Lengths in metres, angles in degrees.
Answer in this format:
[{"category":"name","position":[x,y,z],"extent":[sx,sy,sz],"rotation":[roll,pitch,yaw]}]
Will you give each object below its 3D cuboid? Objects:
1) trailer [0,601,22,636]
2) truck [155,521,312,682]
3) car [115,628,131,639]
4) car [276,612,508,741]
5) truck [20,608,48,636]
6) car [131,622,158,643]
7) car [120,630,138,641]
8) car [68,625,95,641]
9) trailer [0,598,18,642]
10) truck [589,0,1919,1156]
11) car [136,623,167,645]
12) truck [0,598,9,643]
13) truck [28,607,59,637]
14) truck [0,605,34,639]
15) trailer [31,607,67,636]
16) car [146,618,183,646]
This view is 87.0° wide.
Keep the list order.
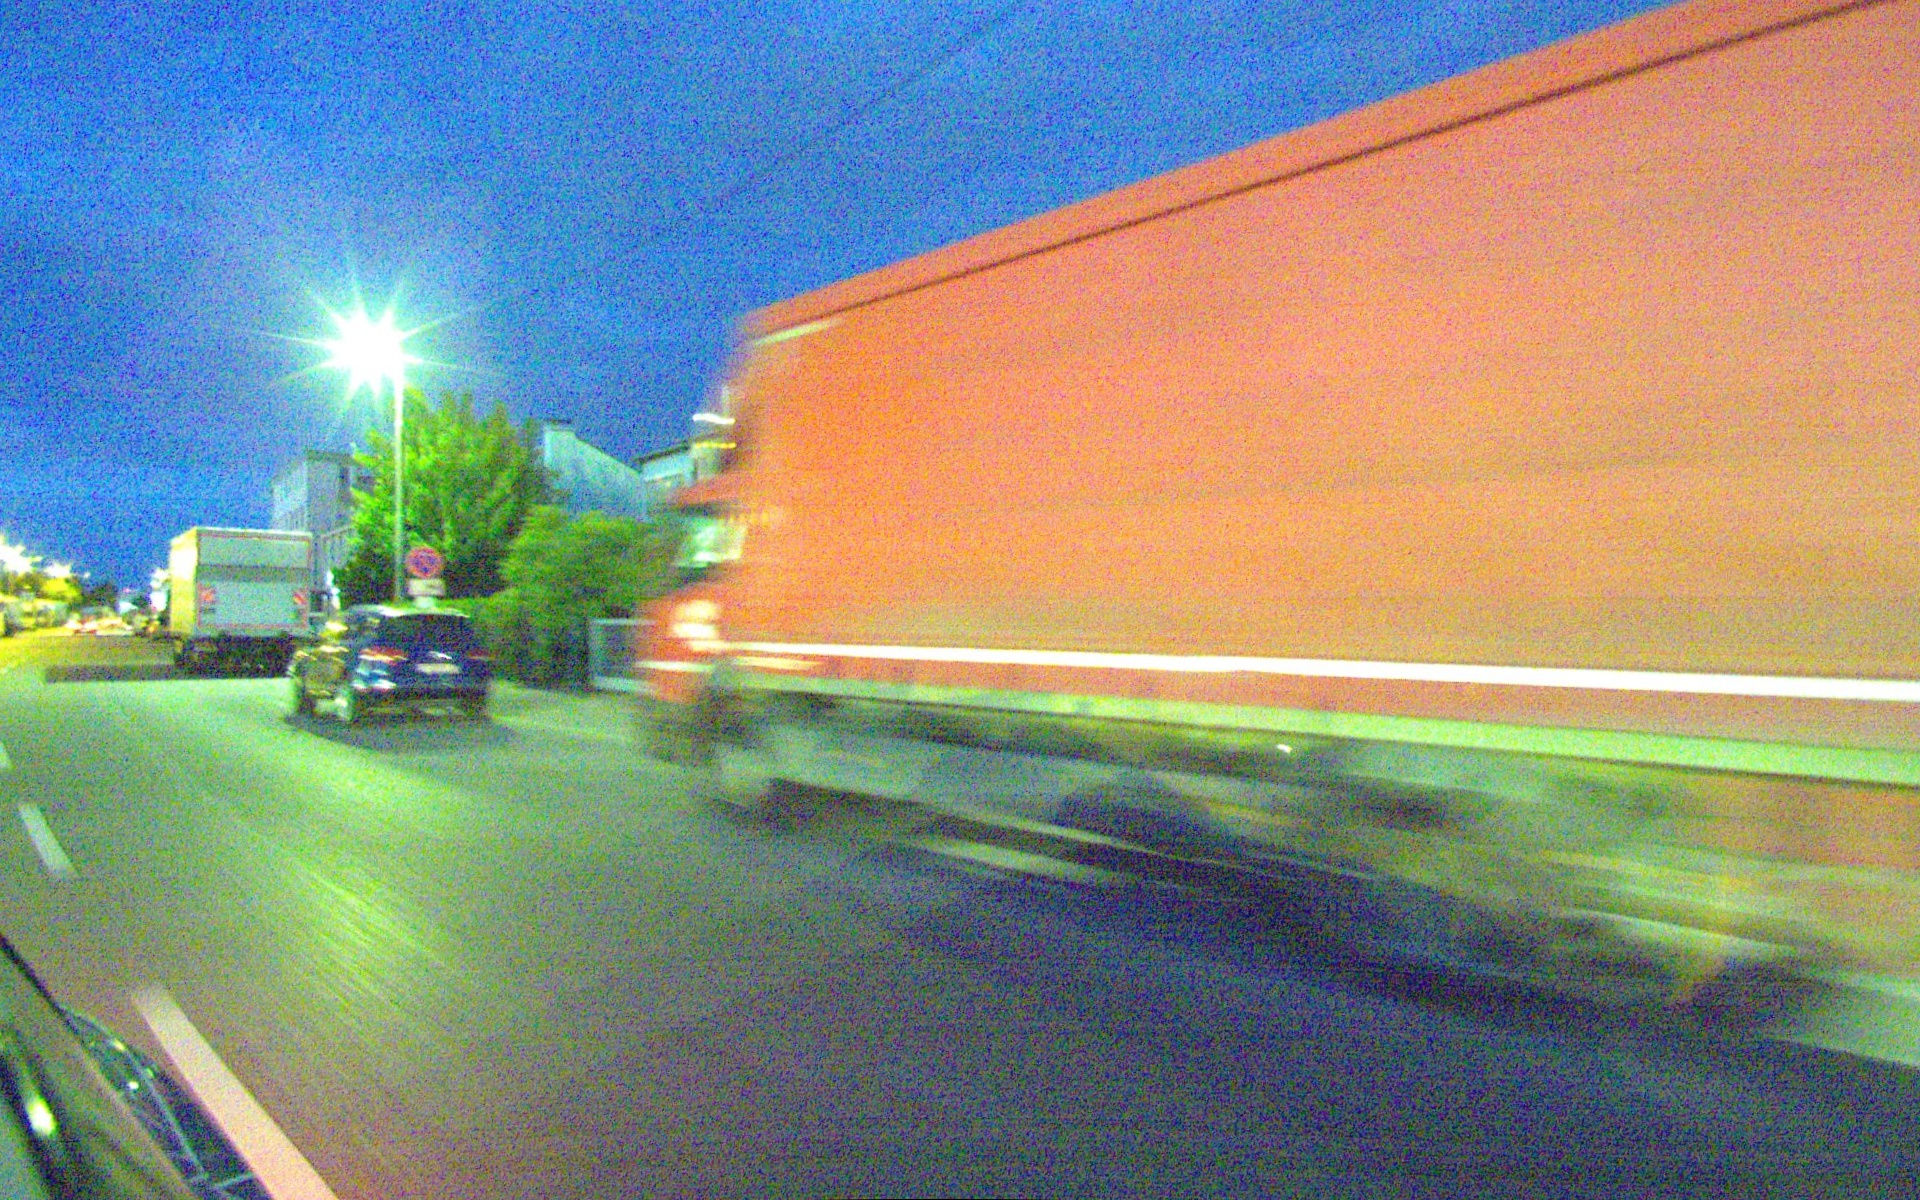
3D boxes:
[{"category":"trailer","position":[-100.265,1.938,105.714],"extent":[2.842,3.551,8.296],"rotation":[0,-2,-40]},{"category":"truck","position":[-21.759,0.134,30.025],"extent":[2.713,4.065,9.571],"rotation":[0,-1,-42]},{"category":"car","position":[-118.891,4.777,143.749],"extent":[1.665,1.375,3.885],"rotation":[-1,0,-40]},{"category":"car","position":[-9.165,1.081,16.094],"extent":[1.921,1.730,5.201],"rotation":[1,-2,-45]},{"category":"truck","position":[-139.662,3.364,152.767],"extent":[2.620,3.904,10.245],"rotation":[-1,-2,-40]},{"category":"car","position":[-72.074,2.883,89.446],"extent":[1.782,1.812,4.886],"rotation":[0,-2,-40]},{"category":"car","position":[-106.531,4.558,129.825],"extent":[1.734,1.401,4.316],"rotation":[0,-2,-39]},{"category":"car","position":[-80.853,3.043,93.151],"extent":[1.835,1.431,4.005],"rotation":[0,-1,-41]},{"category":"trailer","position":[-87.315,1.832,91.184],"extent":[2.731,3.792,14.679],"rotation":[-1,0,-40]},{"category":"truck","position":[1.498,-0.507,5.645],"extent":[9.340,4.152,2.742],"rotation":[-1,-2,43]},{"category":"car","position":[-65.019,2.747,81.414],"extent":[1.922,1.701,4.825],"rotation":[0,-2,-38]},{"category":"truck","position":[-83.140,1.764,86.210],"extent":[2.731,3.792,5.237],"rotation":[-1,0,-40]},{"category":"truck","position":[-146.330,3.496,161.664],"extent":[3.025,4.508,5.647],"rotation":[-1,0,-36]},{"category":"truck","position":[-118.696,2.773,127.370],"extent":[2.756,4.000,9.835],"rotation":[-1,-1,-41]},{"category":"trailer","position":[-150.314,3.574,167.115],"extent":[3.025,4.508,13.441],"rotation":[-1,0,-36]},{"category":"car","position":[-55.025,2.216,69.977],"extent":[1.791,1.863,4.420],"rotation":[1,-1,-42]}]
